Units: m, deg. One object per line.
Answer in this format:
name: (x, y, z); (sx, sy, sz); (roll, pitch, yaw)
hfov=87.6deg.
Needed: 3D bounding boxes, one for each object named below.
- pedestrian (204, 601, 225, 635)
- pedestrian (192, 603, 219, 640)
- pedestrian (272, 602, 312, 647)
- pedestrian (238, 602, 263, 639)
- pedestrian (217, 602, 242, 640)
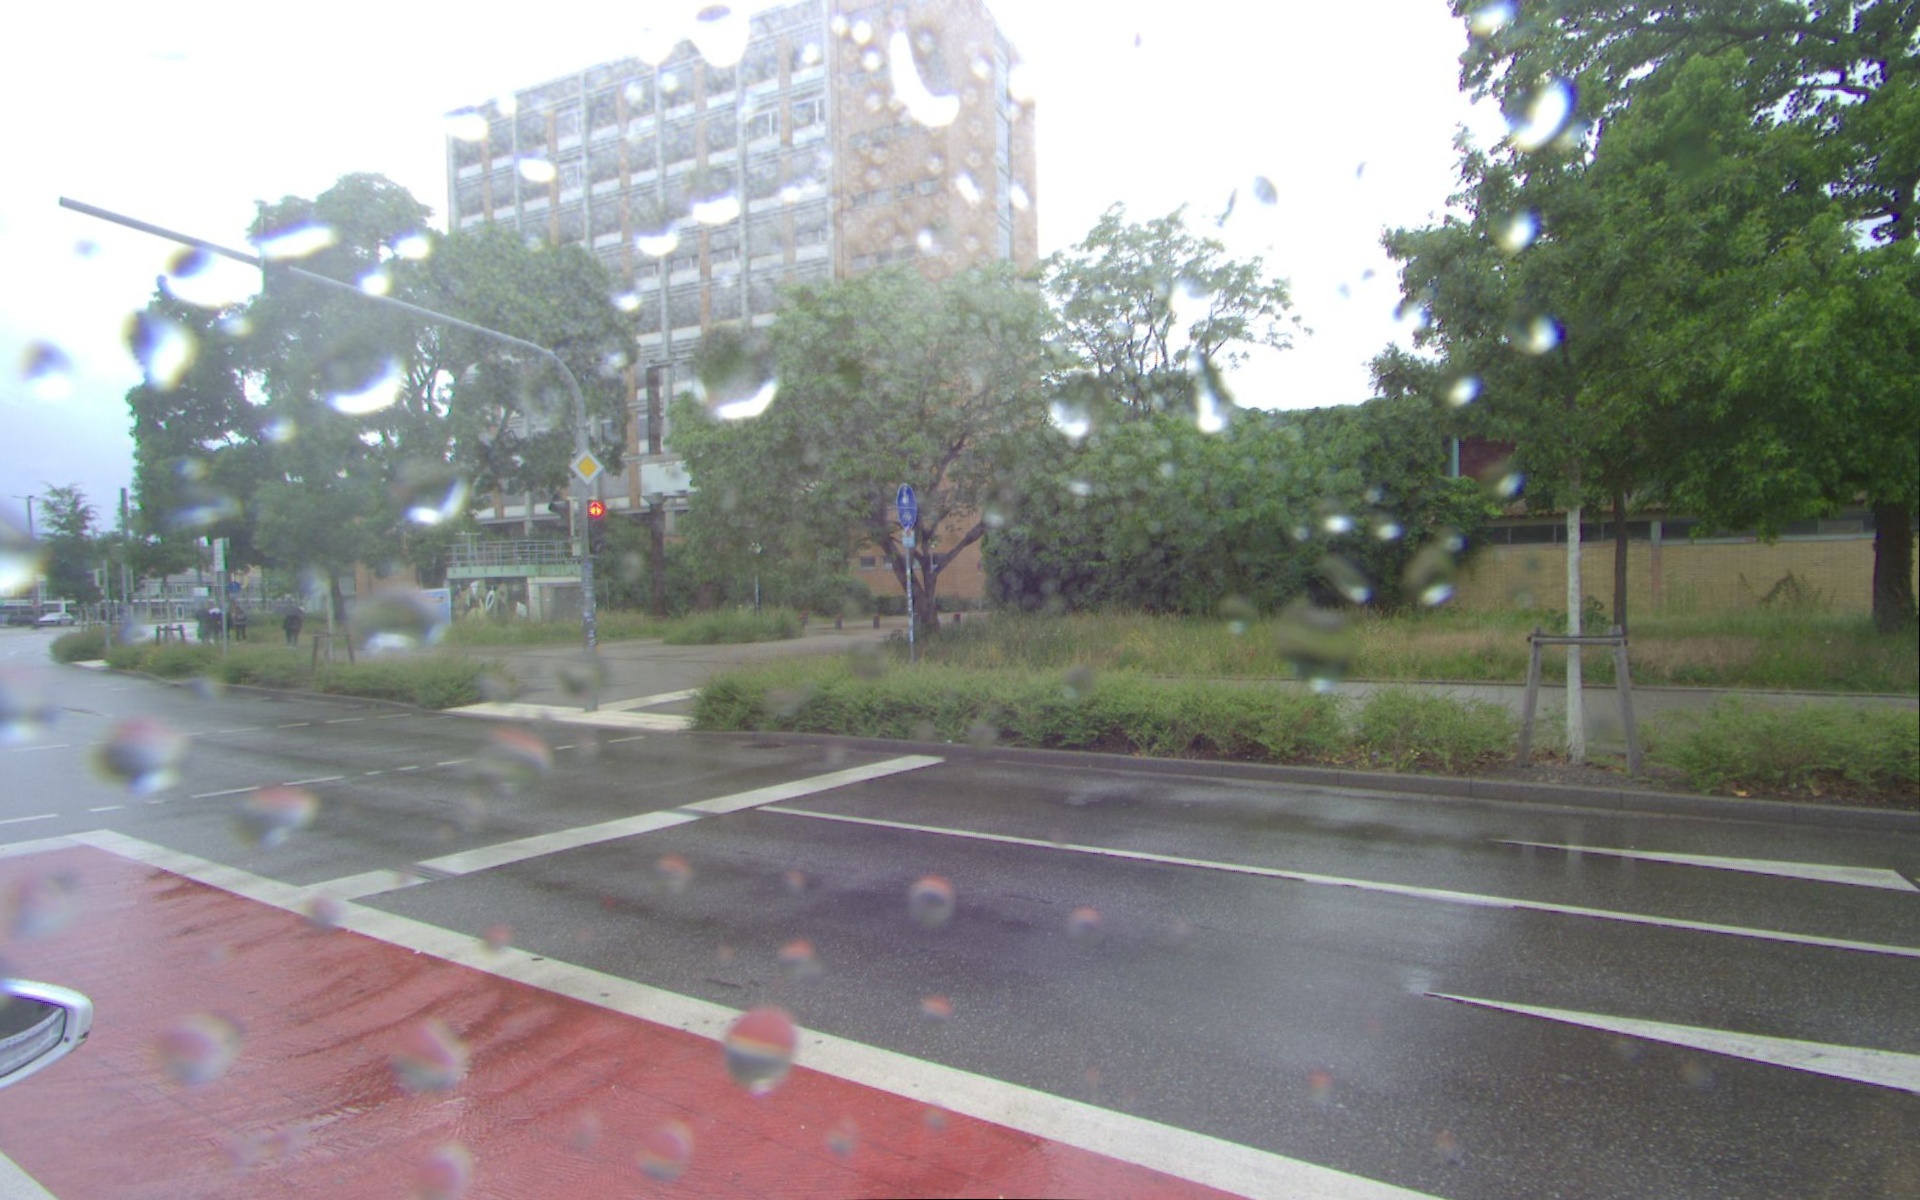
pedestrian: (-36.699, 0.877, 49.291); (0.698, 1.609, 0.927); (-2, 1, -45)
pedestrian: (-32.825, 0.926, 43.544); (0.926, 1.609, 0.749); (0, 1, 43)
pedestrian: (-24.543, 0.873, 36.781); (0.926, 1.609, 1.017); (0, 1, 42)
pedestrian: (-31.459, 0.895, 44.387); (0.926, 1.609, 0.699); (0, 1, 43)
pedestrian: (-31.972, 0.909, 43.816); (0.926, 1.609, 0.699); (0, 1, 43)
